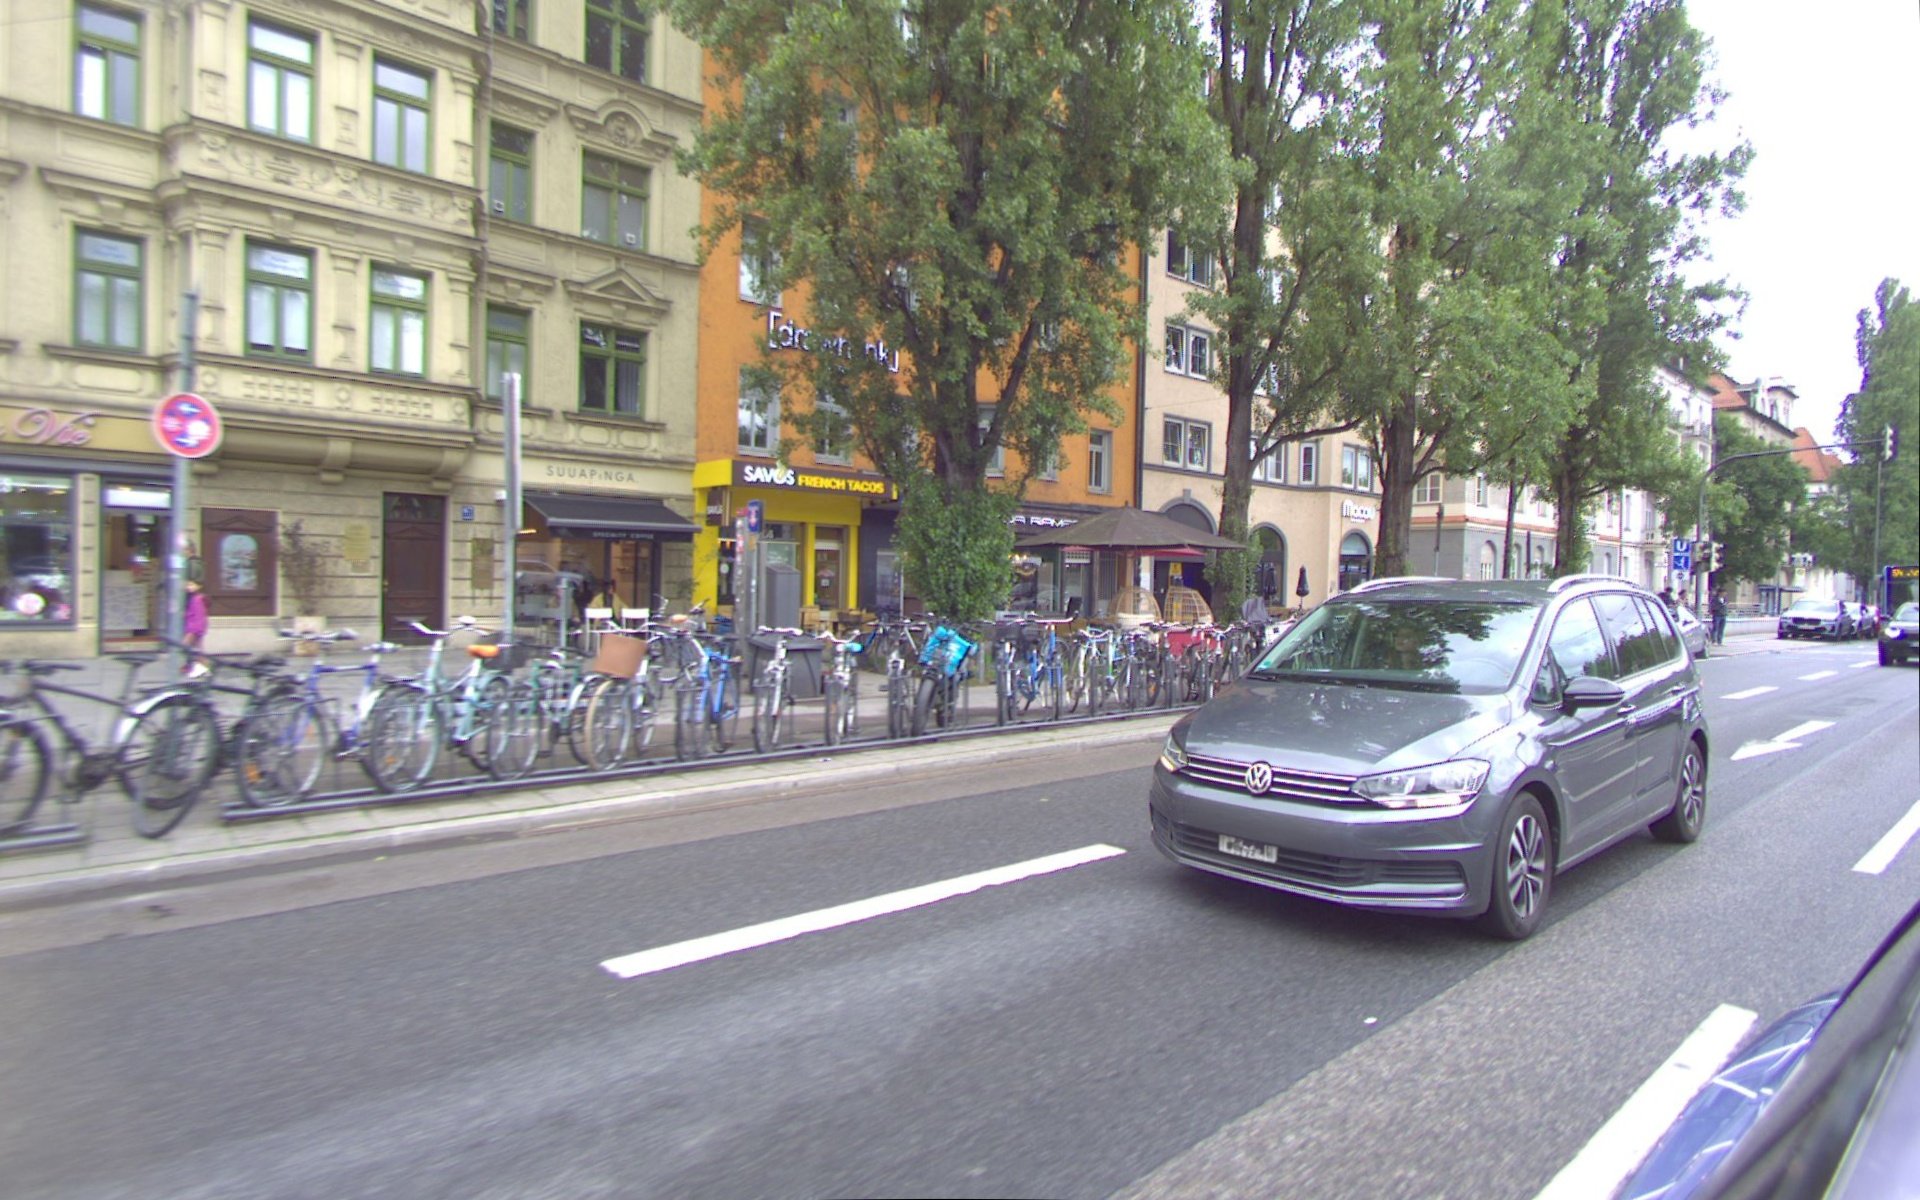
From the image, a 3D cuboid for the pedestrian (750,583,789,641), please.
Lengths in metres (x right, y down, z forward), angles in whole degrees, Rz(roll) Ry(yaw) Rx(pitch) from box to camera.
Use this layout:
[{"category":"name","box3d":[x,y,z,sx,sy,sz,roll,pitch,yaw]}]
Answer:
[{"category":"pedestrian","box3d":[-4.174,0.260,22.160,0.573,1.233,0.623,0,1,-41]}]

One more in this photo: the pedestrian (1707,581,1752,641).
[{"category":"pedestrian","box3d":[23.983,0.328,31.534,0.741,1.824,0.883,2,0,-30]}]

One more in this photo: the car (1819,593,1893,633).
[{"category":"car","box3d":[38.319,0.539,43.258,3.895,1.596,1.730,0,2,-39]}]

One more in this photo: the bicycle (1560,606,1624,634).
[{"category":"bicycle","box3d":[21.671,0.672,34.726,0.385,0.928,1.838,0,0,-38]}]

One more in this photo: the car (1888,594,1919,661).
[{"category":"car","box3d":[23.417,0.620,23.916,3.901,1.523,1.779,0,1,-41]}]

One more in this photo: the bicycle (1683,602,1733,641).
[{"category":"bicycle","box3d":[22.877,0.647,30.985,0.353,1.116,1.743,1,1,5]}]

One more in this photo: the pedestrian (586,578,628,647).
[{"category":"pedestrian","box3d":[-6.855,0.236,19.662,0.573,1.296,0.584,0,1,-41]}]

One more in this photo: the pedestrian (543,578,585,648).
[{"category":"pedestrian","box3d":[-7.490,0.235,19.136,0.573,1.296,0.584,0,1,-41]}]

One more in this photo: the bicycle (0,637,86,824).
[{"category":"bicycle","box3d":[-5.598,0.773,5.372,0.341,1.008,1.843,1,2,-1]}]

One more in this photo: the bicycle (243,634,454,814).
[{"category":"bicycle","box3d":[-4.124,0.775,6.984,0.319,1.008,1.842,2,0,0]}]

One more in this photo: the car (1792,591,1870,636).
[{"category":"car","box3d":[34.547,0.526,40.085,4.424,1.682,1.735,0,-1,-42]}]

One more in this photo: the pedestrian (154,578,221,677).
[{"category":"pedestrian","box3d":[-10.003,0.341,13.102,0.654,1.237,0.601,0,1,-40]}]

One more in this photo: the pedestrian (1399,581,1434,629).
[{"category":"pedestrian","box3d":[16.510,0.166,36.594,0.999,1.706,0.747,0,1,-40]}]

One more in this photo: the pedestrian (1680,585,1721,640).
[{"category":"pedestrian","box3d":[22.772,0.371,31.125,0.743,1.658,0.700,1,0,7]}]

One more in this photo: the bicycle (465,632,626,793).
[{"category":"bicycle","box3d":[-3.068,0.775,7.663,0.319,1.008,1.840,2,0,4]}]

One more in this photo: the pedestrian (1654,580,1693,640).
[{"category":"pedestrian","box3d":[21.931,0.291,31.111,0.638,1.803,0.702,1,0,-7]}]

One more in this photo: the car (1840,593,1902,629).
[{"category":"car","box3d":[41.824,0.476,46.437,3.678,1.527,1.729,0,2,-42]}]

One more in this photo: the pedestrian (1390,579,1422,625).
[{"category":"pedestrian","box3d":[16.953,0.065,38.474,0.999,1.735,0.747,0,1,-40]}]

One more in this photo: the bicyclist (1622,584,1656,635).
[{"category":"bicyclist","box3d":[22.165,0.314,33.039,0.923,1.623,0.681,0,1,-40]}]

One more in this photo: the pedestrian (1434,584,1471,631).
[{"category":"pedestrian","box3d":[17.475,0.258,35.929,0.806,1.622,0.850,1,1,-30]}]

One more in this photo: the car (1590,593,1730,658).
[{"category":"car","box3d":[17.842,0.582,25.716,4.452,1.458,1.996,0,2,-43]}]

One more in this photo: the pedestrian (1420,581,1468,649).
[{"category":"pedestrian","box3d":[11.562,0.358,24.194,0.749,1.582,0.762,1,0,-39]}]

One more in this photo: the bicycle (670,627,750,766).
[{"category":"bicycle","box3d":[-2.119,0.769,8.719,0.319,1.008,1.843,2,0,-4]}]

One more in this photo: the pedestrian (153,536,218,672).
[{"category":"pedestrian","box3d":[-10.302,0.043,13.455,0.654,1.761,0.601,0,1,-40]}]

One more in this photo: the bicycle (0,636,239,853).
[{"category":"bicycle","box3d":[-5.030,0.773,5.837,0.319,1.008,1.840,2,2,4]}]

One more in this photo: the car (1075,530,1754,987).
[{"category":"car","box3d":[2.907,0.575,5.879,4.624,1.668,1.775,0,0,-40]}]

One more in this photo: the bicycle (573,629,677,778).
[{"category":"bicycle","box3d":[-2.662,0.768,8.190,0.319,1.008,1.843,2,0,-4]}]

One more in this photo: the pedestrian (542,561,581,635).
[{"category":"pedestrian","box3d":[-8.188,-0.049,20.787,0.572,1.493,0.627,0,1,-38]}]

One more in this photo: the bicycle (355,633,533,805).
[{"category":"bicycle","box3d":[-3.623,0.775,7.266,0.319,1.008,1.842,2,0,0]}]

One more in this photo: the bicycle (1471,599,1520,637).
[{"category":"bicycle","box3d":[14.340,0.475,27.093,1.624,0.977,0.590,0,1,-40]}]

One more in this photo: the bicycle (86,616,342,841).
[{"category":"bicycle","box3d":[-4.589,0.714,6.386,0.457,1.126,1.845,2,1,-8]}]
